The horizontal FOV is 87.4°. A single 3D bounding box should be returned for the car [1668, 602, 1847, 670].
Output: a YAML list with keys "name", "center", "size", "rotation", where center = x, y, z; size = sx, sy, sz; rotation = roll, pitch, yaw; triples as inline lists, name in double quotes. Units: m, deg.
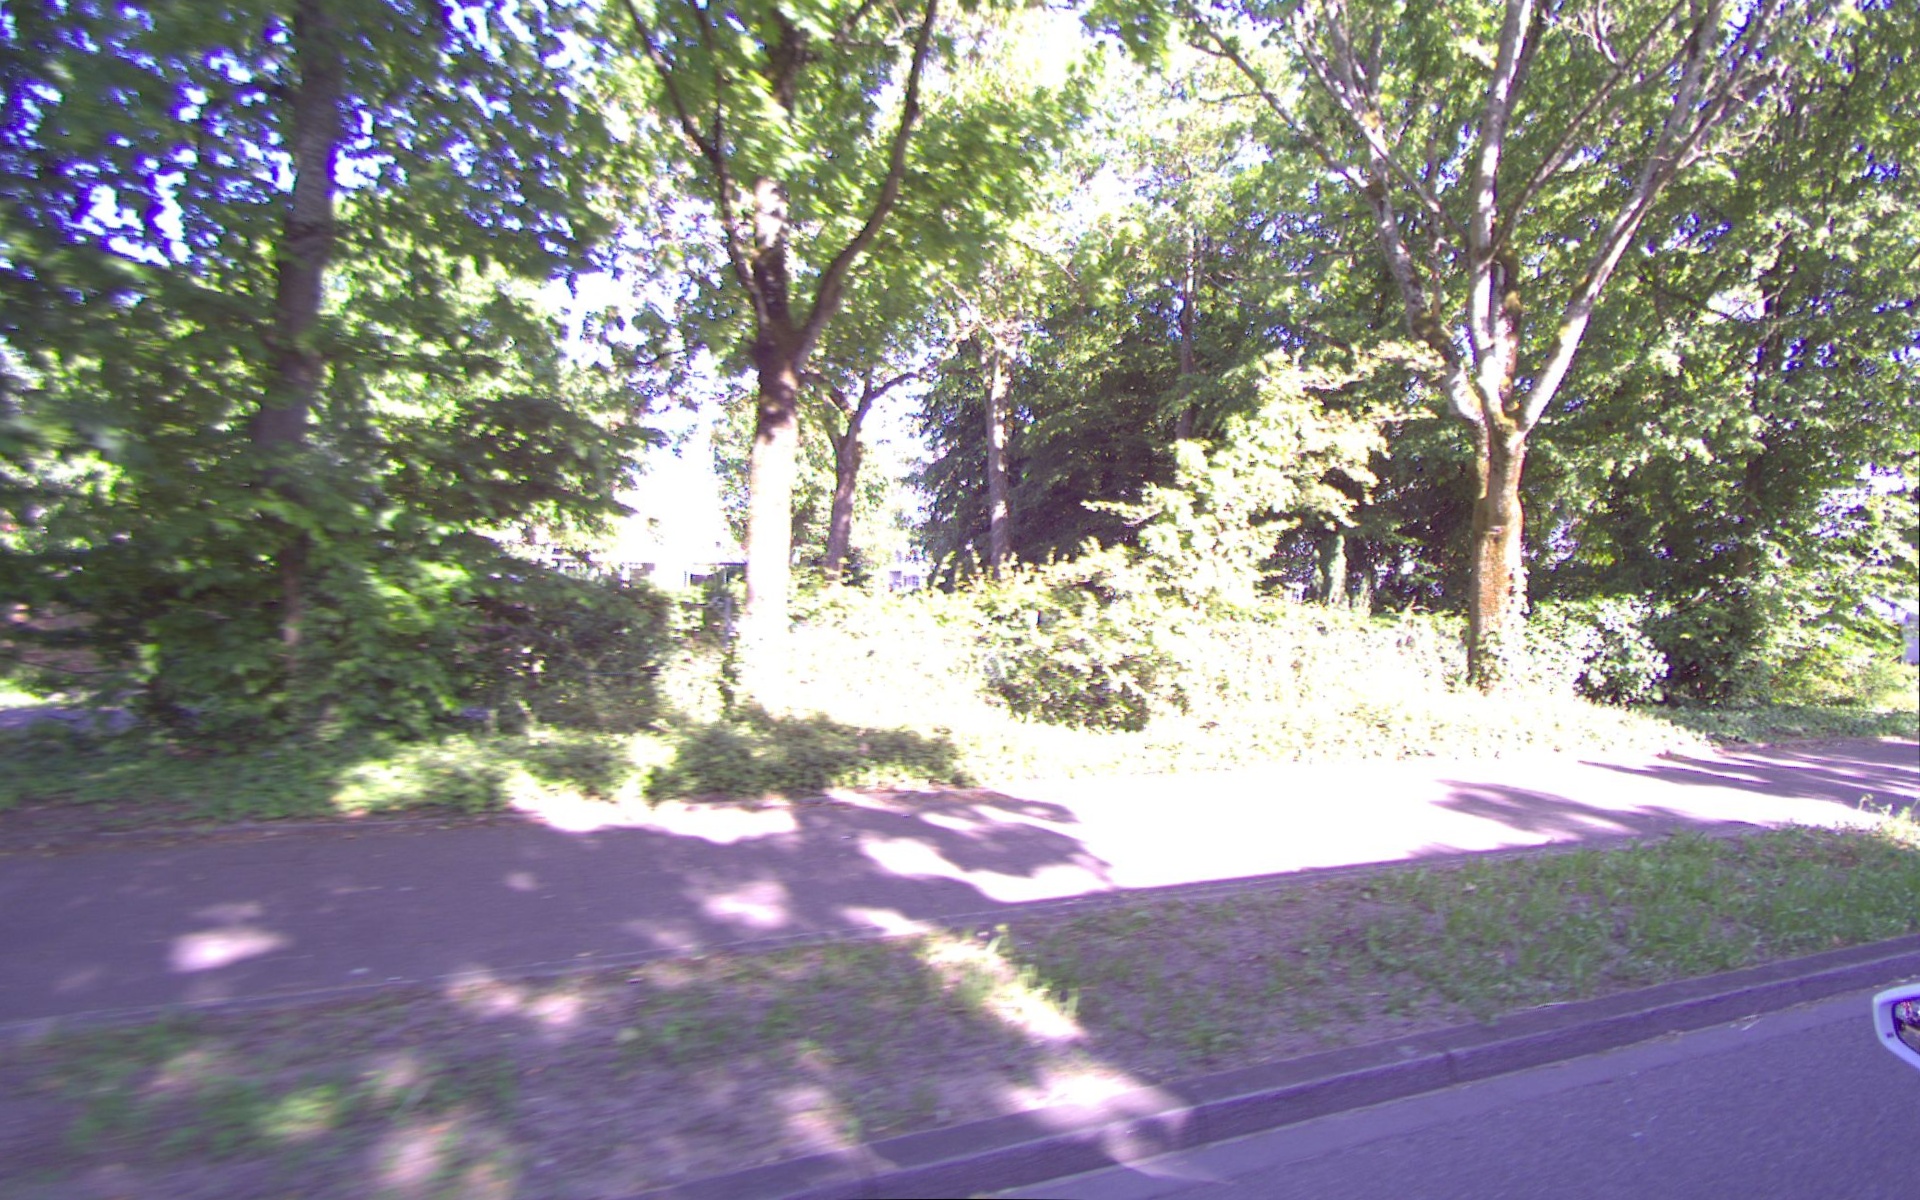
- name: "car"
  center: [24.722, 1.085, 31.302]
  size: [1.654, 1.990, 4.101]
  rotation: [1, -1, -22]

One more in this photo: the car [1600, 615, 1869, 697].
- name: "car"
  center: [15.702, 1.071, 20.644]
  size: [1.654, 1.413, 4.100]
  rotation: [1, 0, -22]
